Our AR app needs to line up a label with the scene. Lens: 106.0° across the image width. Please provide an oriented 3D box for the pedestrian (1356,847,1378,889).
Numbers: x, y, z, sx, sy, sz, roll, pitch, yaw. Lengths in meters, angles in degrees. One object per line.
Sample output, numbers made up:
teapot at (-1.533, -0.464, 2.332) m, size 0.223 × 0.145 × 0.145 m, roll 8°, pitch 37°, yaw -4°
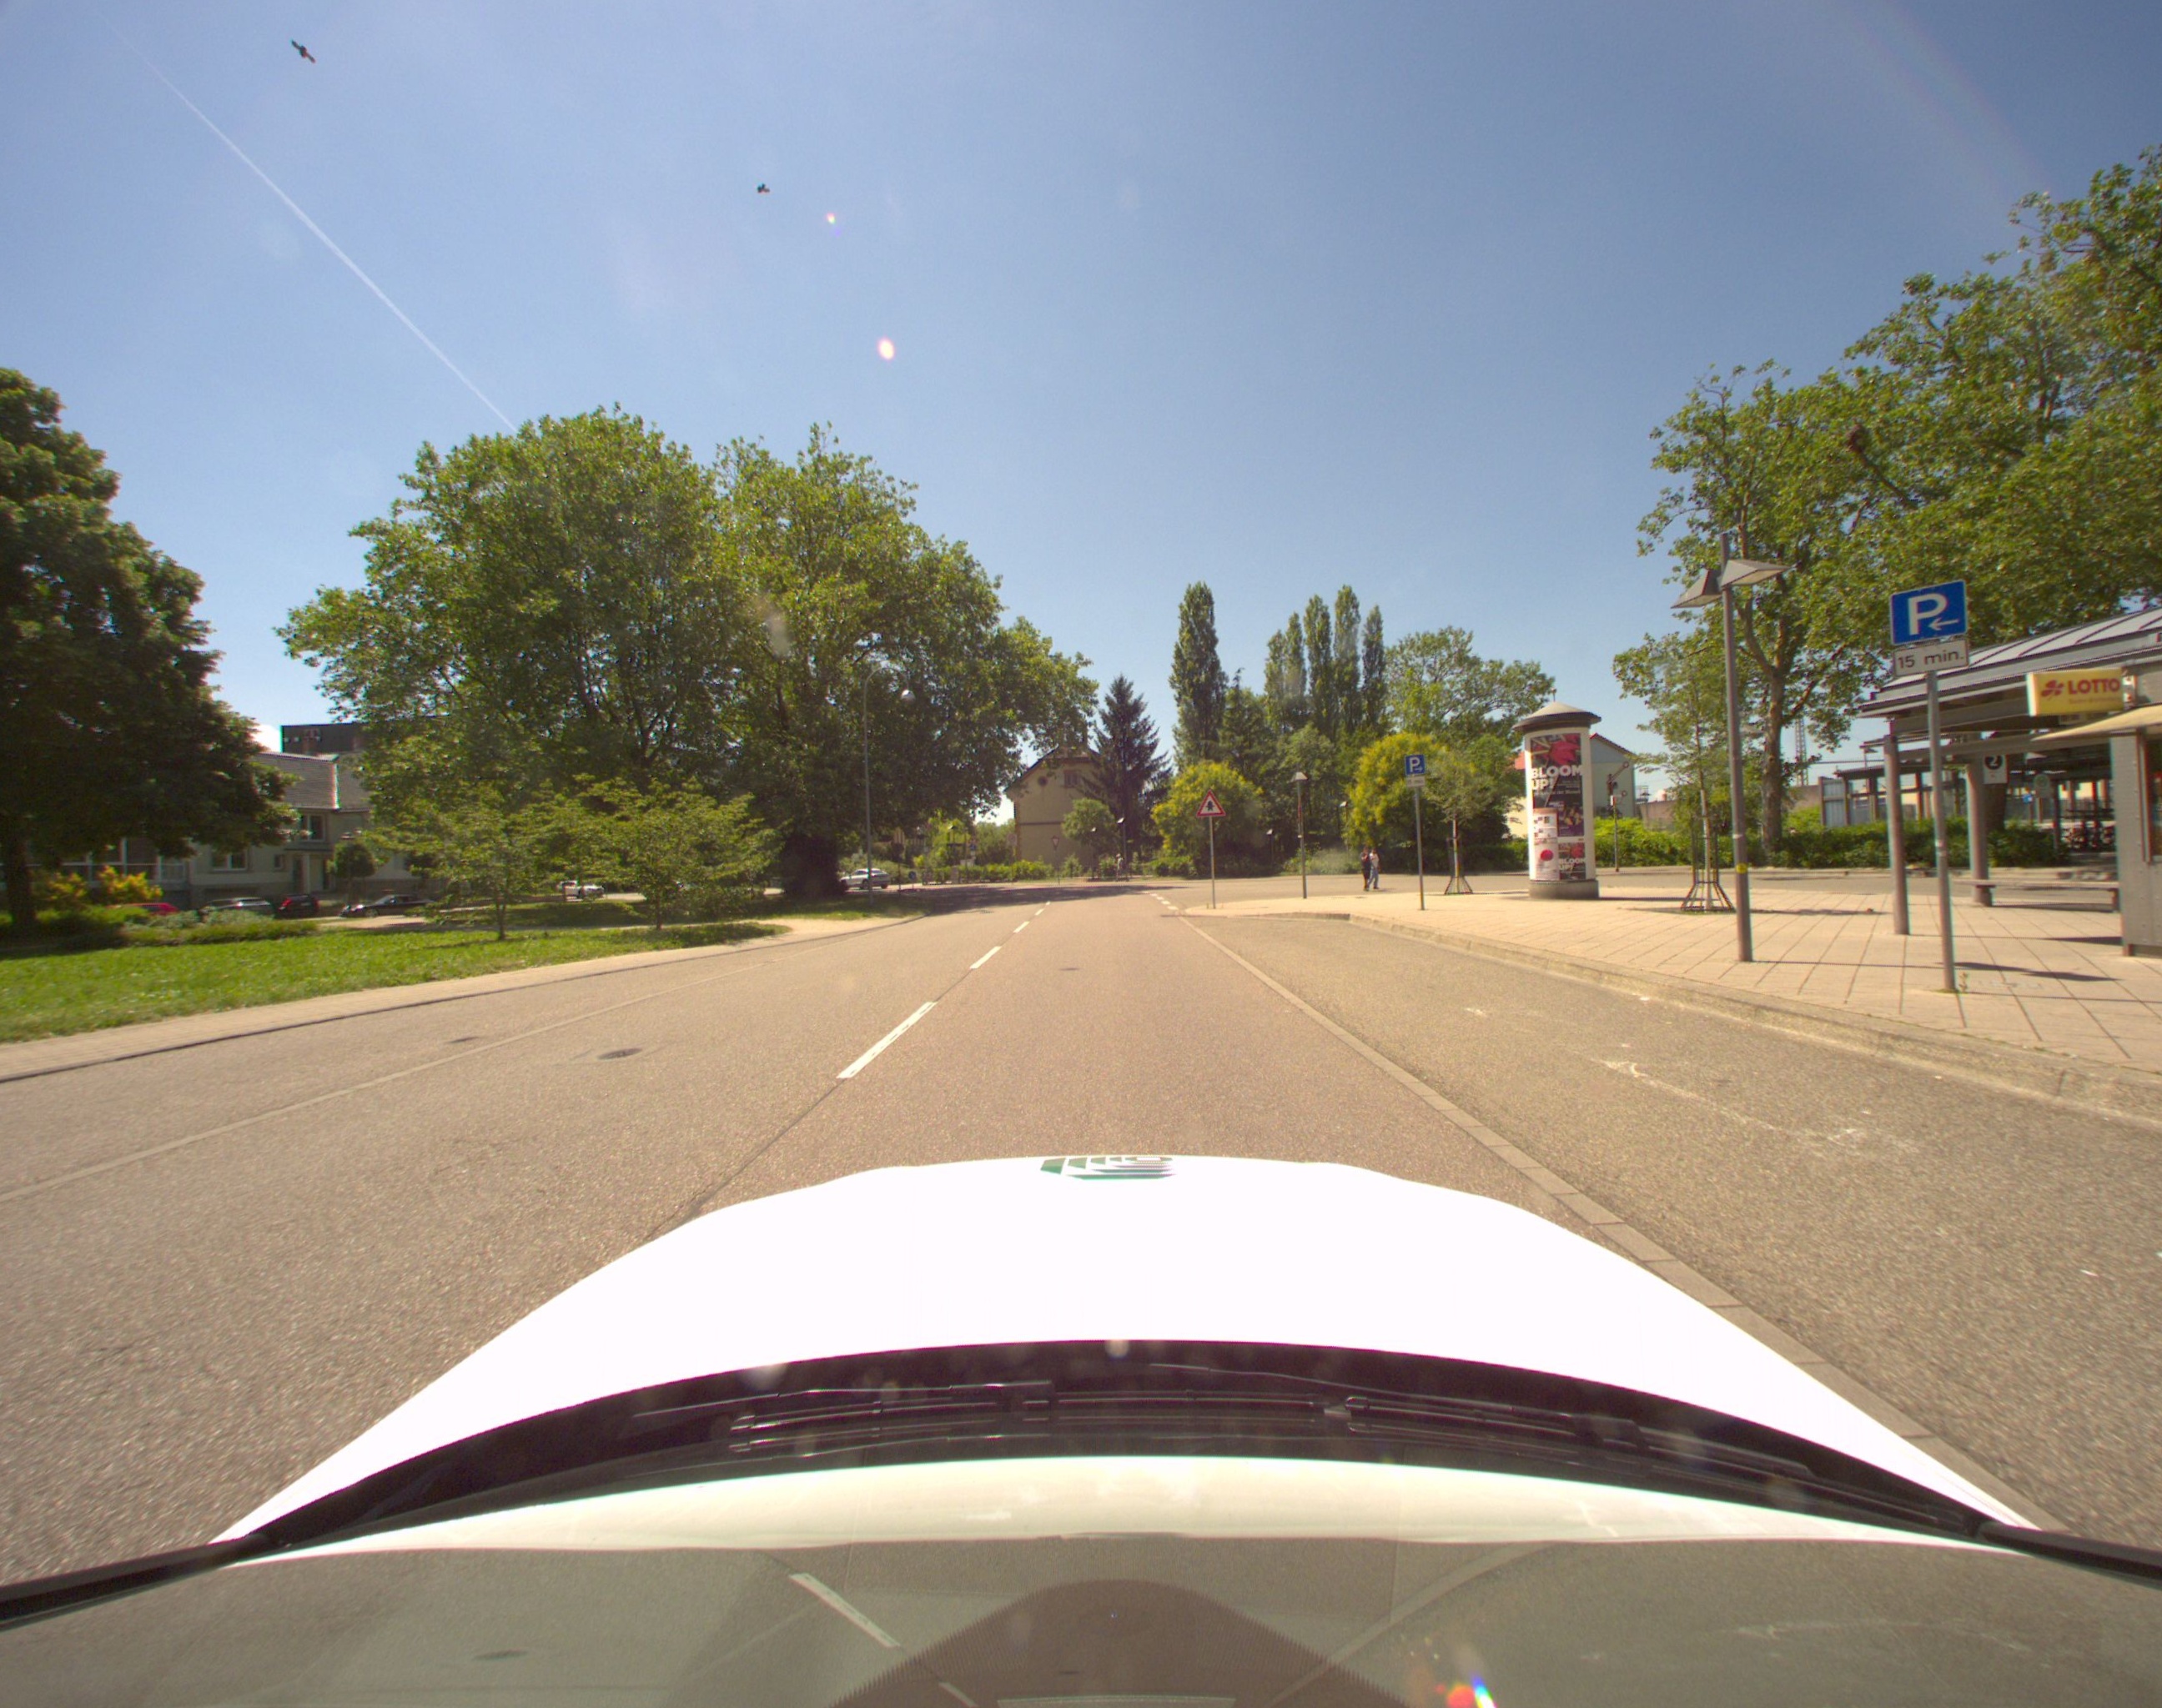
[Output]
pedestrian at (11.358, 0.558, 32.323) m, size 0.629 × 1.650 × 0.755 m, roll -2°, pitch -3°, yaw 29°

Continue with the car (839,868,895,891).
car at (-17.038, 2.022, 64.794) m, size 4.717 × 1.627 × 2.001 m, roll -3°, pitch -1°, yaw 42°

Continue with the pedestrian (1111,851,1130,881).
pedestrian at (2.576, 0.775, 53.085) m, size 0.810 × 1.965 × 0.847 m, roll -1°, pitch -1°, yaw -39°

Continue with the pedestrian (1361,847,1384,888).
pedestrian at (11.961, 0.544, 33.387) m, size 0.713 × 1.650 × 0.755 m, roll -2°, pitch -3°, yaw 29°

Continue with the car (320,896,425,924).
car at (-39.456, 3.097, 45.436) m, size 1.799 × 1.310 × 4.013 m, roll -3°, pitch -1°, yaw 28°

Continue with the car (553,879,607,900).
car at (-45.574, 3.233, 74.094) m, size 3.960 × 1.807 × 1.909 m, roll 0°, pitch -1°, yaw 12°

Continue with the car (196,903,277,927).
car at (-48.377, 3.504, 46.670) m, size 3.536 × 1.185 × 1.566 m, roll -2°, pitch -1°, yaw 12°

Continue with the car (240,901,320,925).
car at (-48.607, 3.570, 49.439) m, size 3.695 × 1.252 × 1.720 m, roll -2°, pitch -1°, yaw 14°

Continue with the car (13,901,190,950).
car at (-45.906, 3.320, 38.354) m, size 1.971 × 1.846 × 4.909 m, roll -2°, pitch -1°, yaw 18°

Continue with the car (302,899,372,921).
car at (-47.151, 3.561, 51.621) m, size 3.536 × 1.185 × 1.482 m, roll -2°, pitch -1°, yaw 12°
